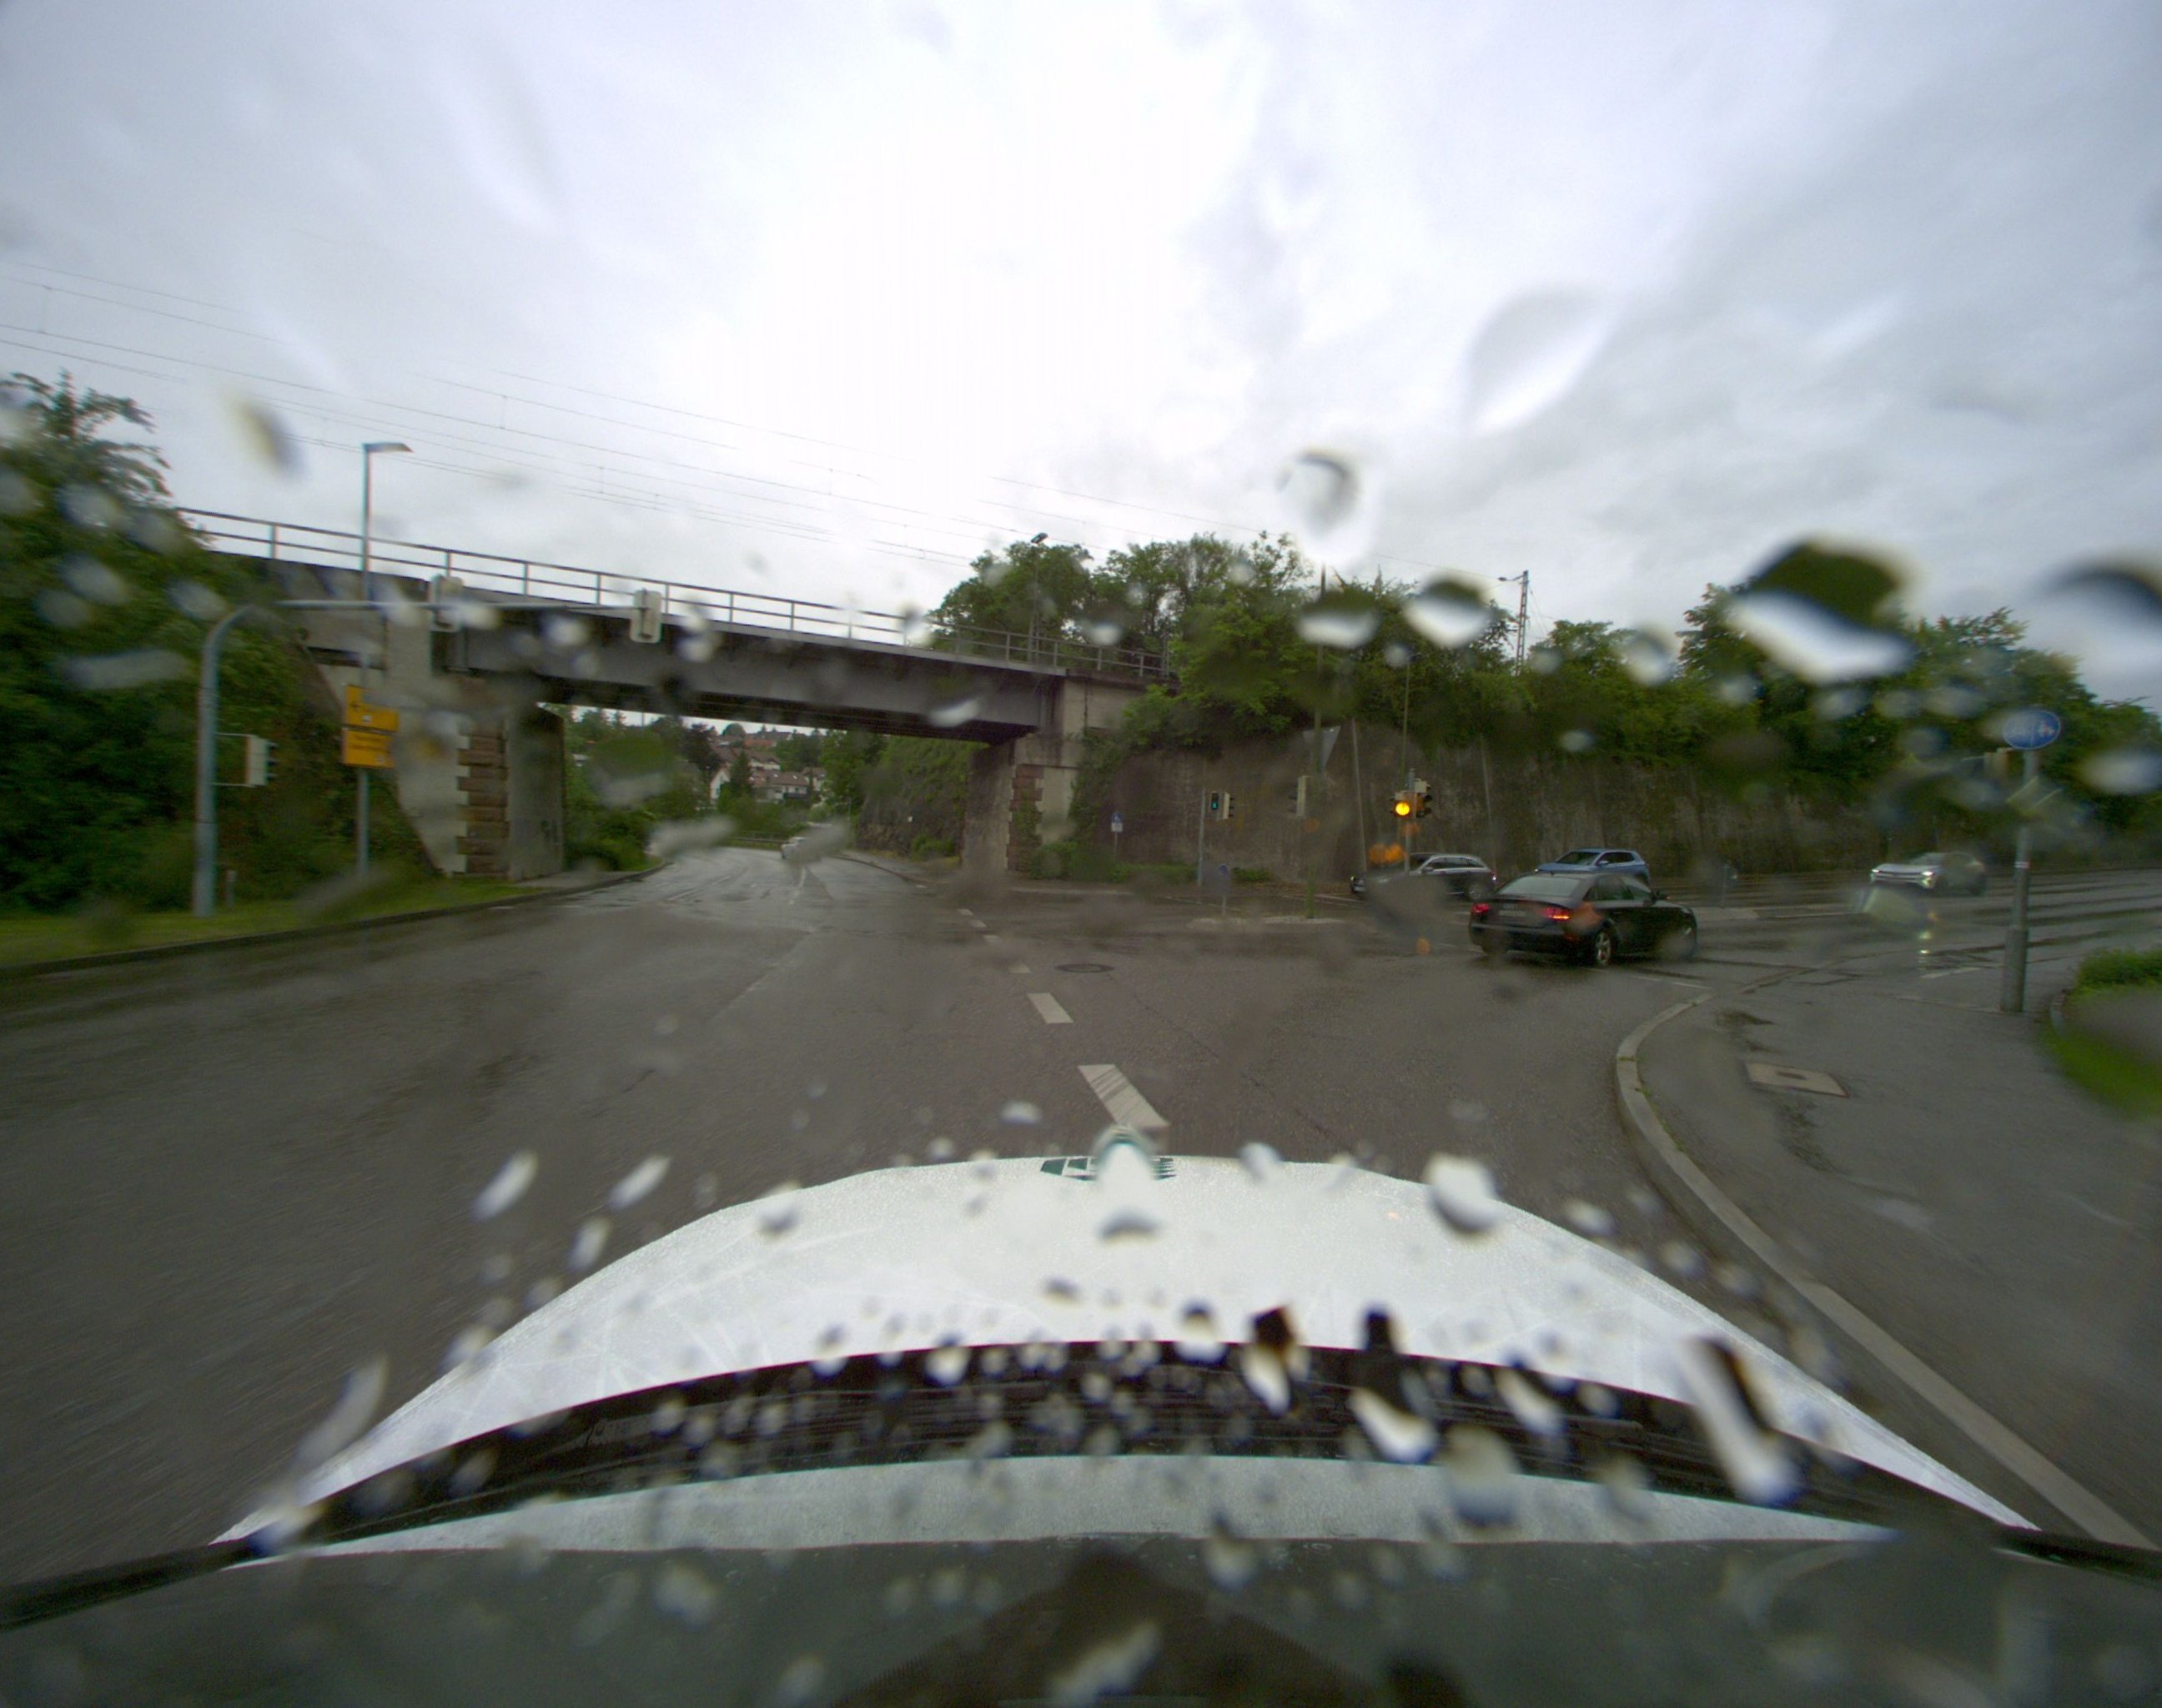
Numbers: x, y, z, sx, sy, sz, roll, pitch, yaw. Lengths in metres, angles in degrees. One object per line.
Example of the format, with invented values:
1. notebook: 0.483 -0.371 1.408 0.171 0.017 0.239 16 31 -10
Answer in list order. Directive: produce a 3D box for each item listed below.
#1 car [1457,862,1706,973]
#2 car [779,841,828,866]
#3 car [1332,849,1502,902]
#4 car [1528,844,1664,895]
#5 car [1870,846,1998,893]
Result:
1. car: 8.071 0.880 13.028 4.224 1.492 1.878 0 0 -35
2. car: -18.005 -0.030 52.729 2.008 1.562 3.957 0 0 -34
3. car: 10.337 0.626 25.131 4.726 1.503 1.988 0 0 -18
4. car: 17.705 0.520 28.029 4.048 1.657 1.810 0 0 -18
5. car: 30.581 0.530 29.203 4.003 1.601 1.861 0 0 -23
